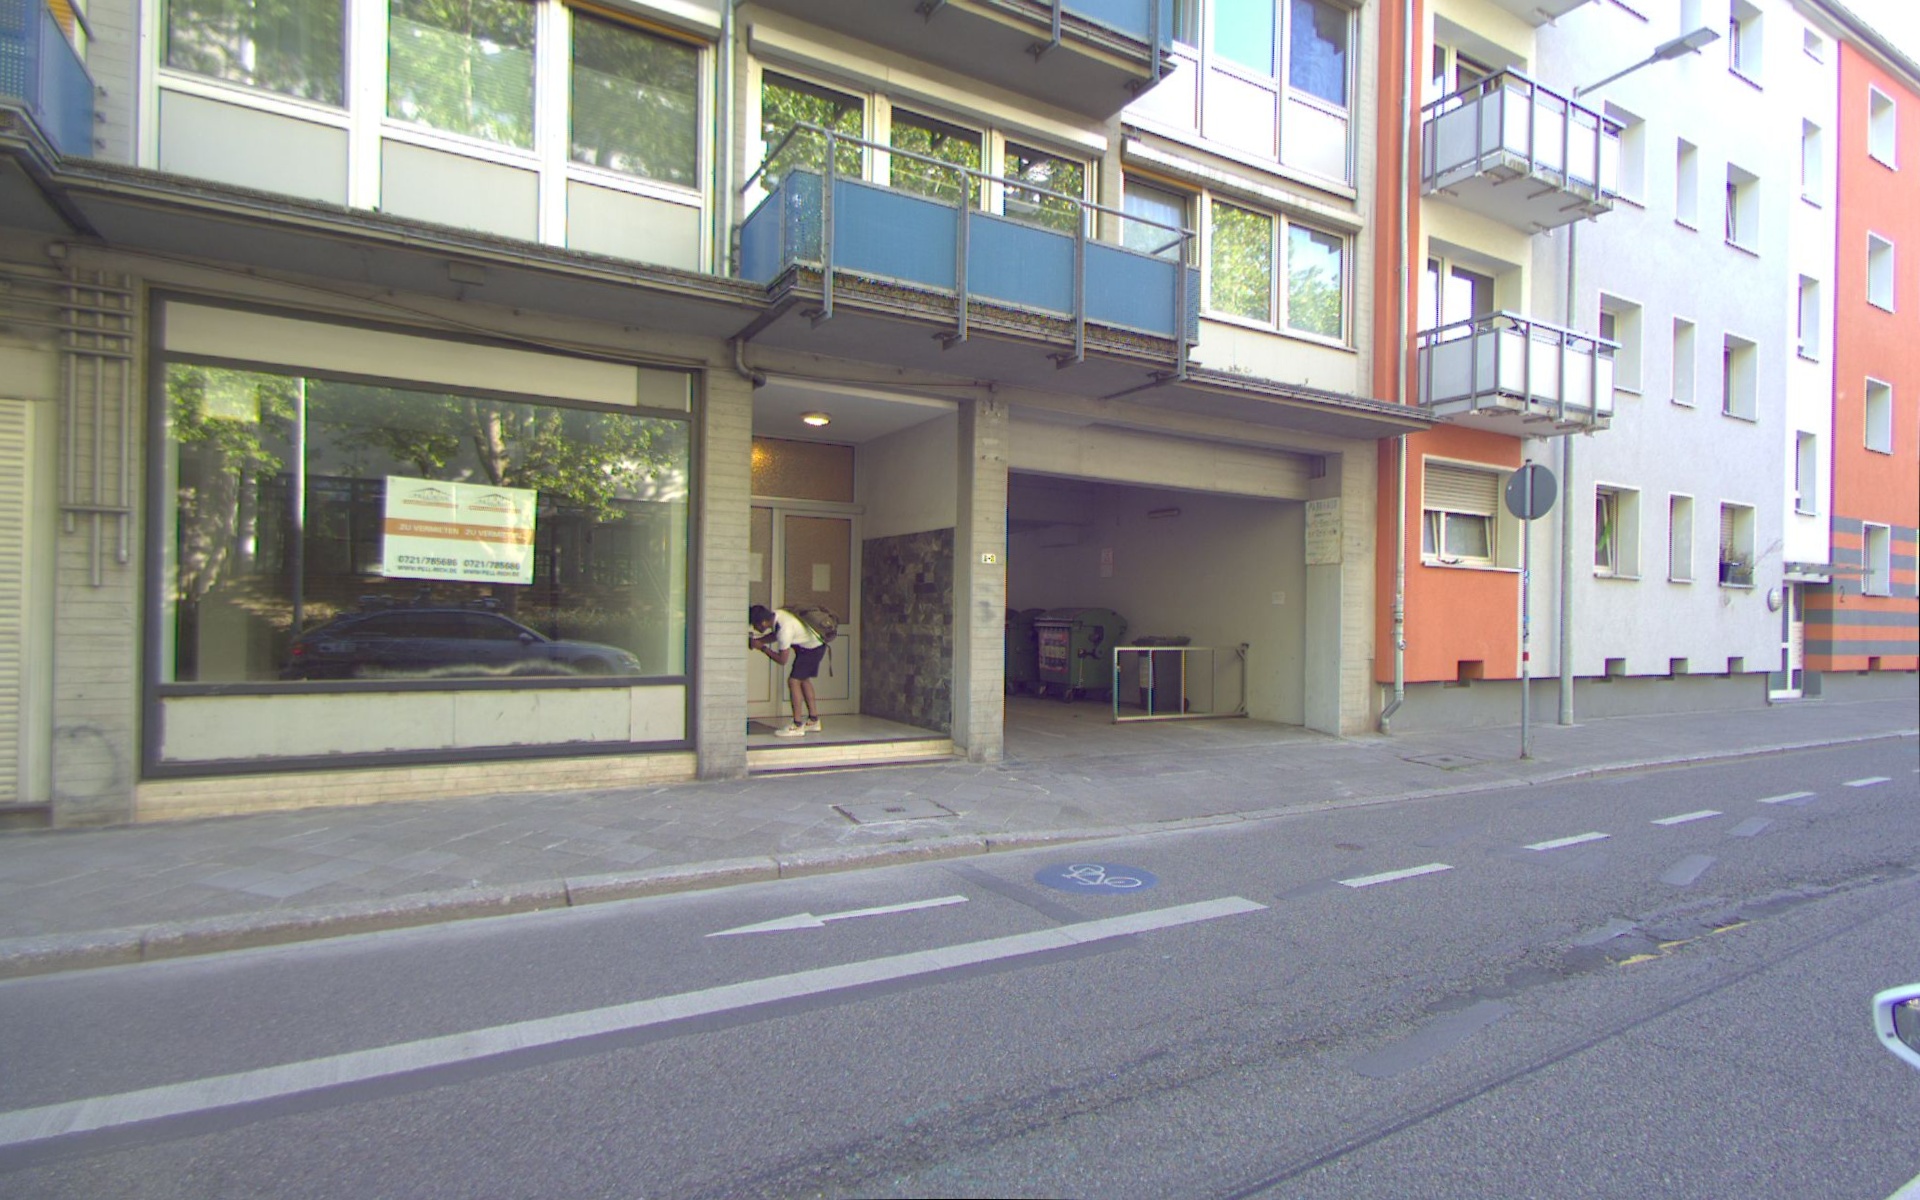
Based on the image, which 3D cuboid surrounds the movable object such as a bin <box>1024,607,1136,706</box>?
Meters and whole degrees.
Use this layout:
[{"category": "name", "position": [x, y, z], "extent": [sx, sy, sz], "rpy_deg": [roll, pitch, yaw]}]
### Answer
[{"category": "movable object such as a bin", "position": [1.871, 0.868, 15.802], "extent": [1.182, 1.452, 1.300], "rpy_deg": [2, 0, -30]}]

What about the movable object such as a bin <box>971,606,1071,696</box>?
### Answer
[{"category": "movable object such as a bin", "position": [1.031, 0.849, 17.189], "extent": [1.182, 1.452, 1.300], "rpy_deg": [2, 0, -30]}]

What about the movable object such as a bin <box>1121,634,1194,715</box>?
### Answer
[{"category": "movable object such as a bin", "position": [2.849, 1.061, 14.520], "extent": [0.707, 1.089, 0.735], "rpy_deg": [2, 0, -30]}]

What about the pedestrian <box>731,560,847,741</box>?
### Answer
[{"category": "pedestrian", "position": [-1.599, 0.455, 9.372], "extent": [0.914, 1.606, 0.561], "rpy_deg": [1, 0, -29]}]

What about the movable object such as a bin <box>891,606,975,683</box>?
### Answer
[{"category": "movable object such as a bin", "position": [-0.550, 0.860, 19.928], "extent": [1.182, 1.452, 1.300], "rpy_deg": [2, 0, -30]}]

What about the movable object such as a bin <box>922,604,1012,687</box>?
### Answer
[{"category": "movable object such as a bin", "position": [0.118, 0.830, 18.764], "extent": [1.182, 1.452, 1.300], "rpy_deg": [2, 0, -30]}]
